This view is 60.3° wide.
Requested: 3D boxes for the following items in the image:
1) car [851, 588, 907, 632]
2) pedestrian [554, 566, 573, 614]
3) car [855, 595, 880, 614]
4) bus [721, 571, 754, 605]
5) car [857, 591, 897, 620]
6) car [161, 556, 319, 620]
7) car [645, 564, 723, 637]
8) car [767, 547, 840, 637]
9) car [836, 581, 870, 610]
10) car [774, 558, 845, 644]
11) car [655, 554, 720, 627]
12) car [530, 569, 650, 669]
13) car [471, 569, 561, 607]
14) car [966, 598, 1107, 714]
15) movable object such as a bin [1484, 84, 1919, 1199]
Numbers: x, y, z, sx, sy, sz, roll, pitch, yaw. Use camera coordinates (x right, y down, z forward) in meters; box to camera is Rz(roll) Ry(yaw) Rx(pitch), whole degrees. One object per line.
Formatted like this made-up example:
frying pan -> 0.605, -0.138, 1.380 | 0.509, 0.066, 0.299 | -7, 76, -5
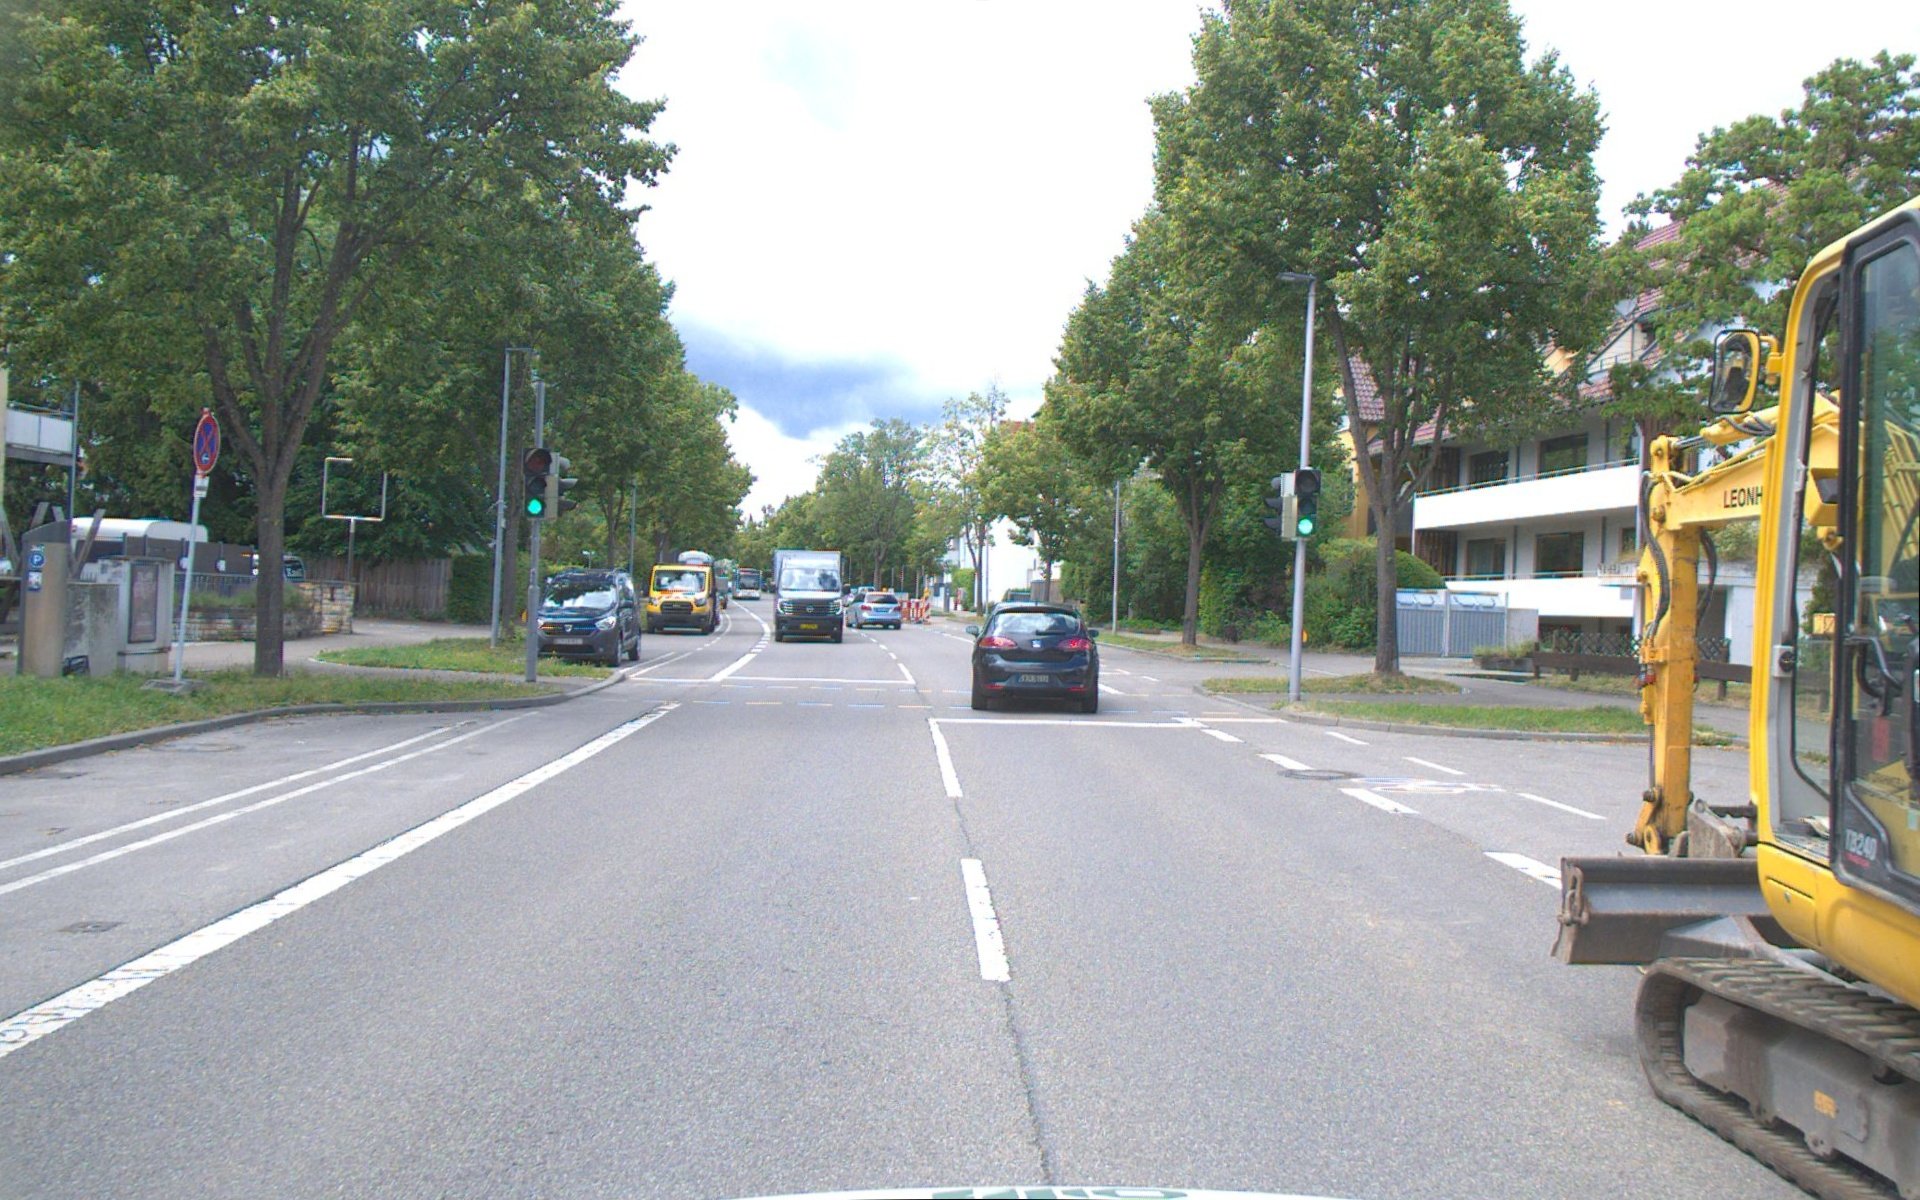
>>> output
car -> -3.323, 0.367, 67.203 | 1.871, 1.715, 3.731 | 1, 0, -9
pedestrian -> -14.857, -0.368, 61.953 | 0.584, 1.772, 0.573 | 1, 0, -6
car -> -7.149, 0.353, 128.075 | 1.773, 1.440, 3.691 | 1, 0, -2
bus -> -14.925, -0.795, 111.313 | 1.955, 2.160, 7.349 | 2, 0, -6
car -> -4.360, 0.259, 86.552 | 1.776, 1.440, 3.686 | 1, 0, -8
car -> -21.450, -0.351, 49.349 | 3.904, 1.800, 1.746 | 1, 0, 3
car -> -8.922, 0.011, 53.846 | 2.052, 2.213, 5.039 | 1, 0, -5
car -> -5.198, -0.261, 55.732 | 2.243, 2.840, 7.137 | 0, 0, -4
car -> -6.397, -0.262, 98.452 | 1.757, 1.651, 3.734 | 1, 0, -7
car -> -4.478, 0.007, 49.568 | 1.989, 2.426, 5.257 | 0, 0, -4
car -> -10.587, -0.369, 64.619 | 2.052, 2.672, 5.039 | 1, 0, -5
car -> -7.125, 0.341, 32.237 | 1.634, 1.803, 4.464 | 0, 0, -4
car -> -19.997, -0.542, 74.548 | 3.611, 1.622, 1.677 | 1, 0, -5
car -> 1.010, 0.714, 23.089 | 1.781, 1.463, 3.740 | 1, 0, 1
movable object such as a bin -> 2.986, 0.184, 4.813 | 1.732, 2.619, 3.740 | 2, 0, 1
